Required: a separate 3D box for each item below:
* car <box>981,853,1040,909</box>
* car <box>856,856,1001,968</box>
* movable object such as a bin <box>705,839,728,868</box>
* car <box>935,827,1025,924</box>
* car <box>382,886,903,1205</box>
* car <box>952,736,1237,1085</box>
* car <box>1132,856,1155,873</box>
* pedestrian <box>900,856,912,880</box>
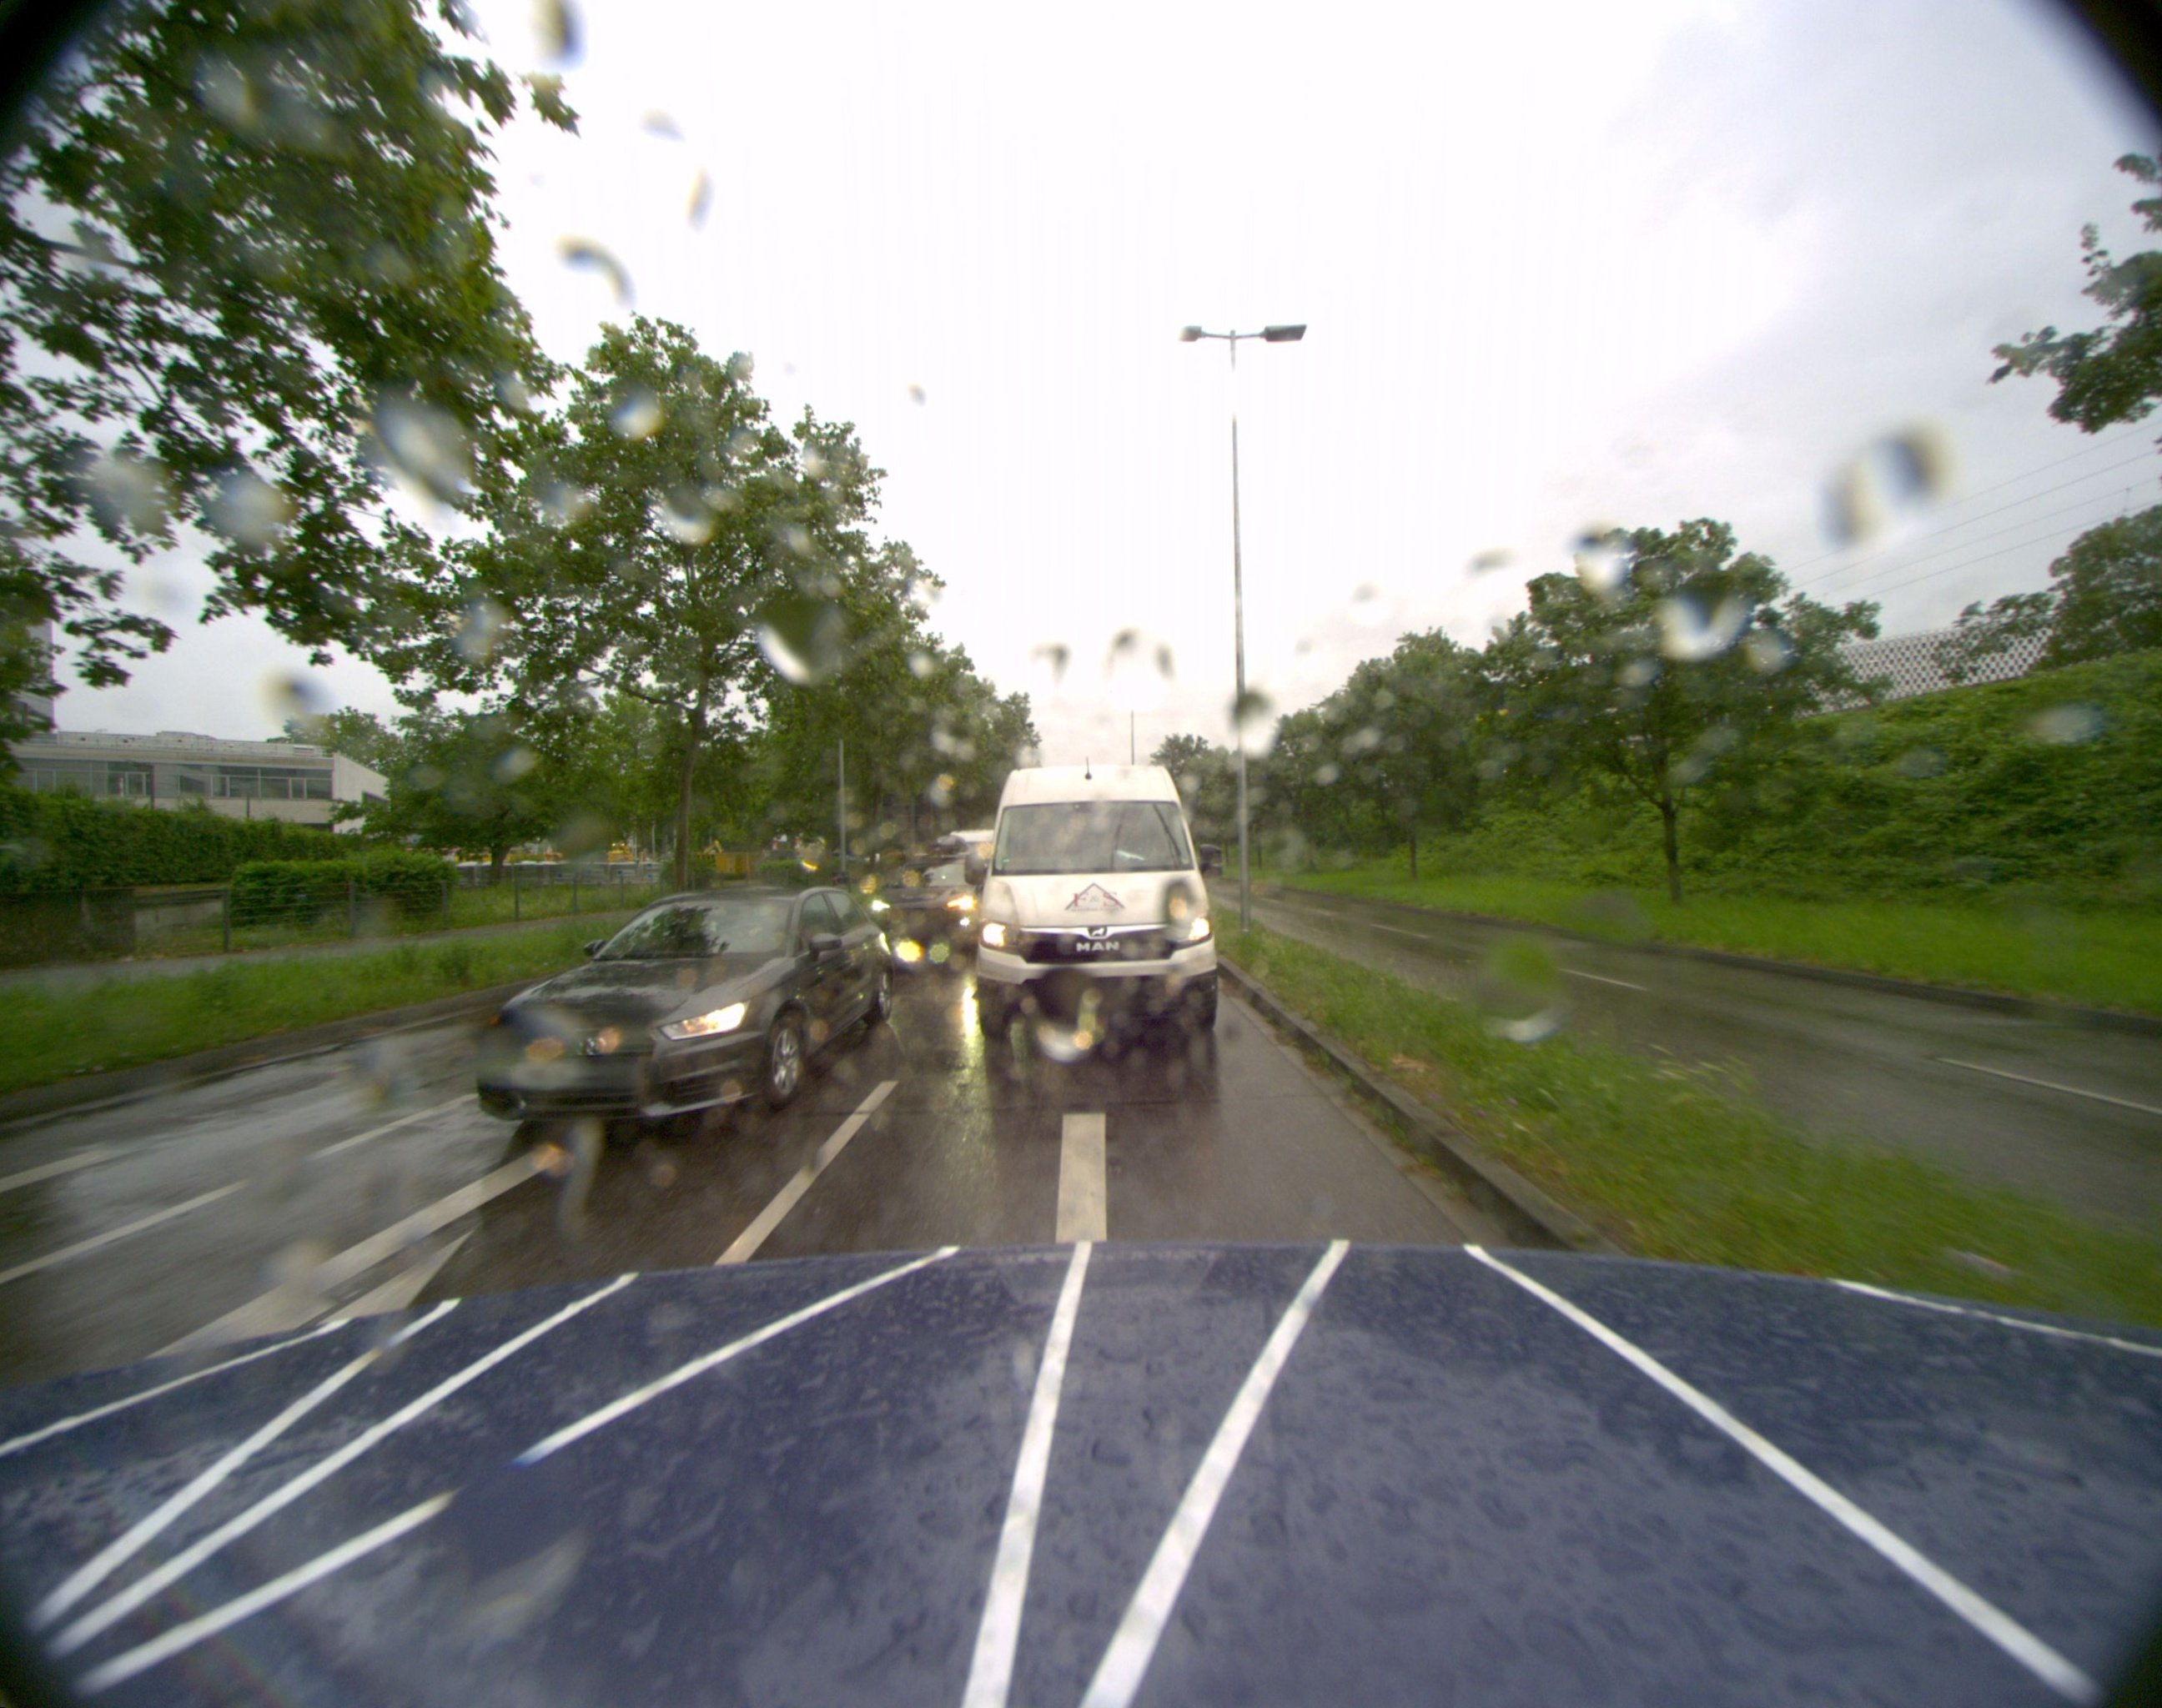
[{"bbox_3d":[-2.586,0.932,28.691,1.807,1.902,4.546,-1,0,-1],"label":"car"},{"bbox_3d":[-2.621,0.920,14.125,1.894,1.688,4.423,-1,0,-2],"label":"car"},{"bbox_3d":[-45.476,-0.023,94.798,1.920,3.415,4.930,-3,1,-20],"label":"movable object such as a bin"},{"bbox_3d":[-2.757,0.539,21.919,1.894,2.432,5.317,-1,0,-1],"label":"car"},{"bbox_3d":[-2.679,1.063,5.769,1.680,1.419,3.781,-2,0,1],"label":"car"},{"bbox_3d":[0.064,0.412,8.391,2.027,2.498,5.695,-1,0,-1],"label":"car"},{"bbox_3d":[5.672,0.949,69.488,1.820,1.454,4.000,1,0,0],"label":"car"},{"bbox_3d":[-12.956,1.038,56.159,0.646,1.706,0.656,-2,1,2],"label":"pedestrian"}]
